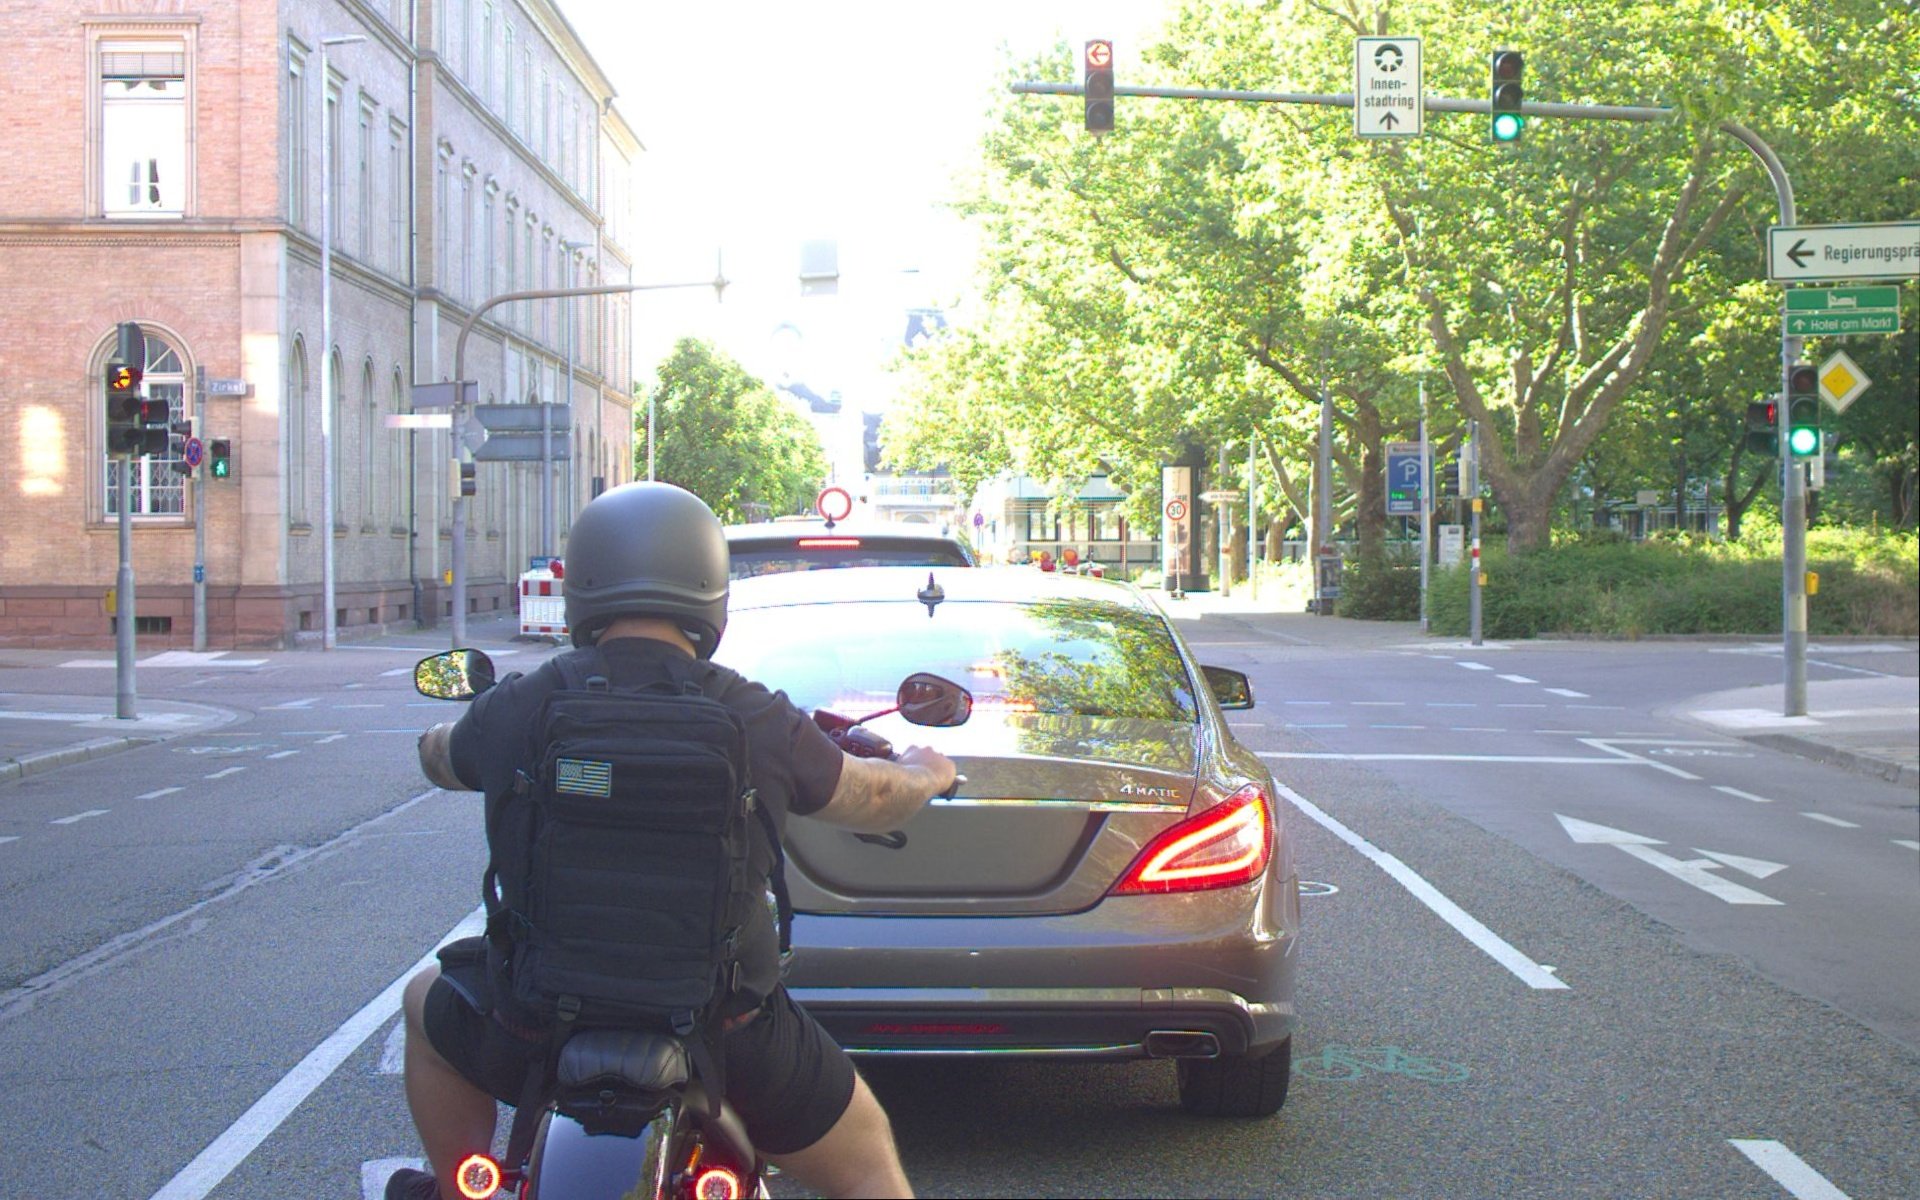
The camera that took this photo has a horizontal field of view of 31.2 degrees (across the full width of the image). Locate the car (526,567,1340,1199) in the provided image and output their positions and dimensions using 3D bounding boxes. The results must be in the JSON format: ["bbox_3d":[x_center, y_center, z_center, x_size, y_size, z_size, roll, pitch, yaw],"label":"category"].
[{"bbox_3d":[-0.082,0.636,9.673,1.822,1.432,3.806,1,1,-1],"label":"car"}]

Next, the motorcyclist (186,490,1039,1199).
[{"bbox_3d":[-0.480,0.630,5.285,1.099,1.560,1.071,1,0,6],"label":"motorcyclist"}]

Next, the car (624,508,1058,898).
[{"bbox_3d":[-0.541,0.430,16.951,1.863,1.672,4.000,1,1,-1],"label":"car"}]

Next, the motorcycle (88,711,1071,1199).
[{"bbox_3d":[-0.466,0.833,5.508,1.118,1.203,2.212,1,1,6],"label":"motorcycle"}]
